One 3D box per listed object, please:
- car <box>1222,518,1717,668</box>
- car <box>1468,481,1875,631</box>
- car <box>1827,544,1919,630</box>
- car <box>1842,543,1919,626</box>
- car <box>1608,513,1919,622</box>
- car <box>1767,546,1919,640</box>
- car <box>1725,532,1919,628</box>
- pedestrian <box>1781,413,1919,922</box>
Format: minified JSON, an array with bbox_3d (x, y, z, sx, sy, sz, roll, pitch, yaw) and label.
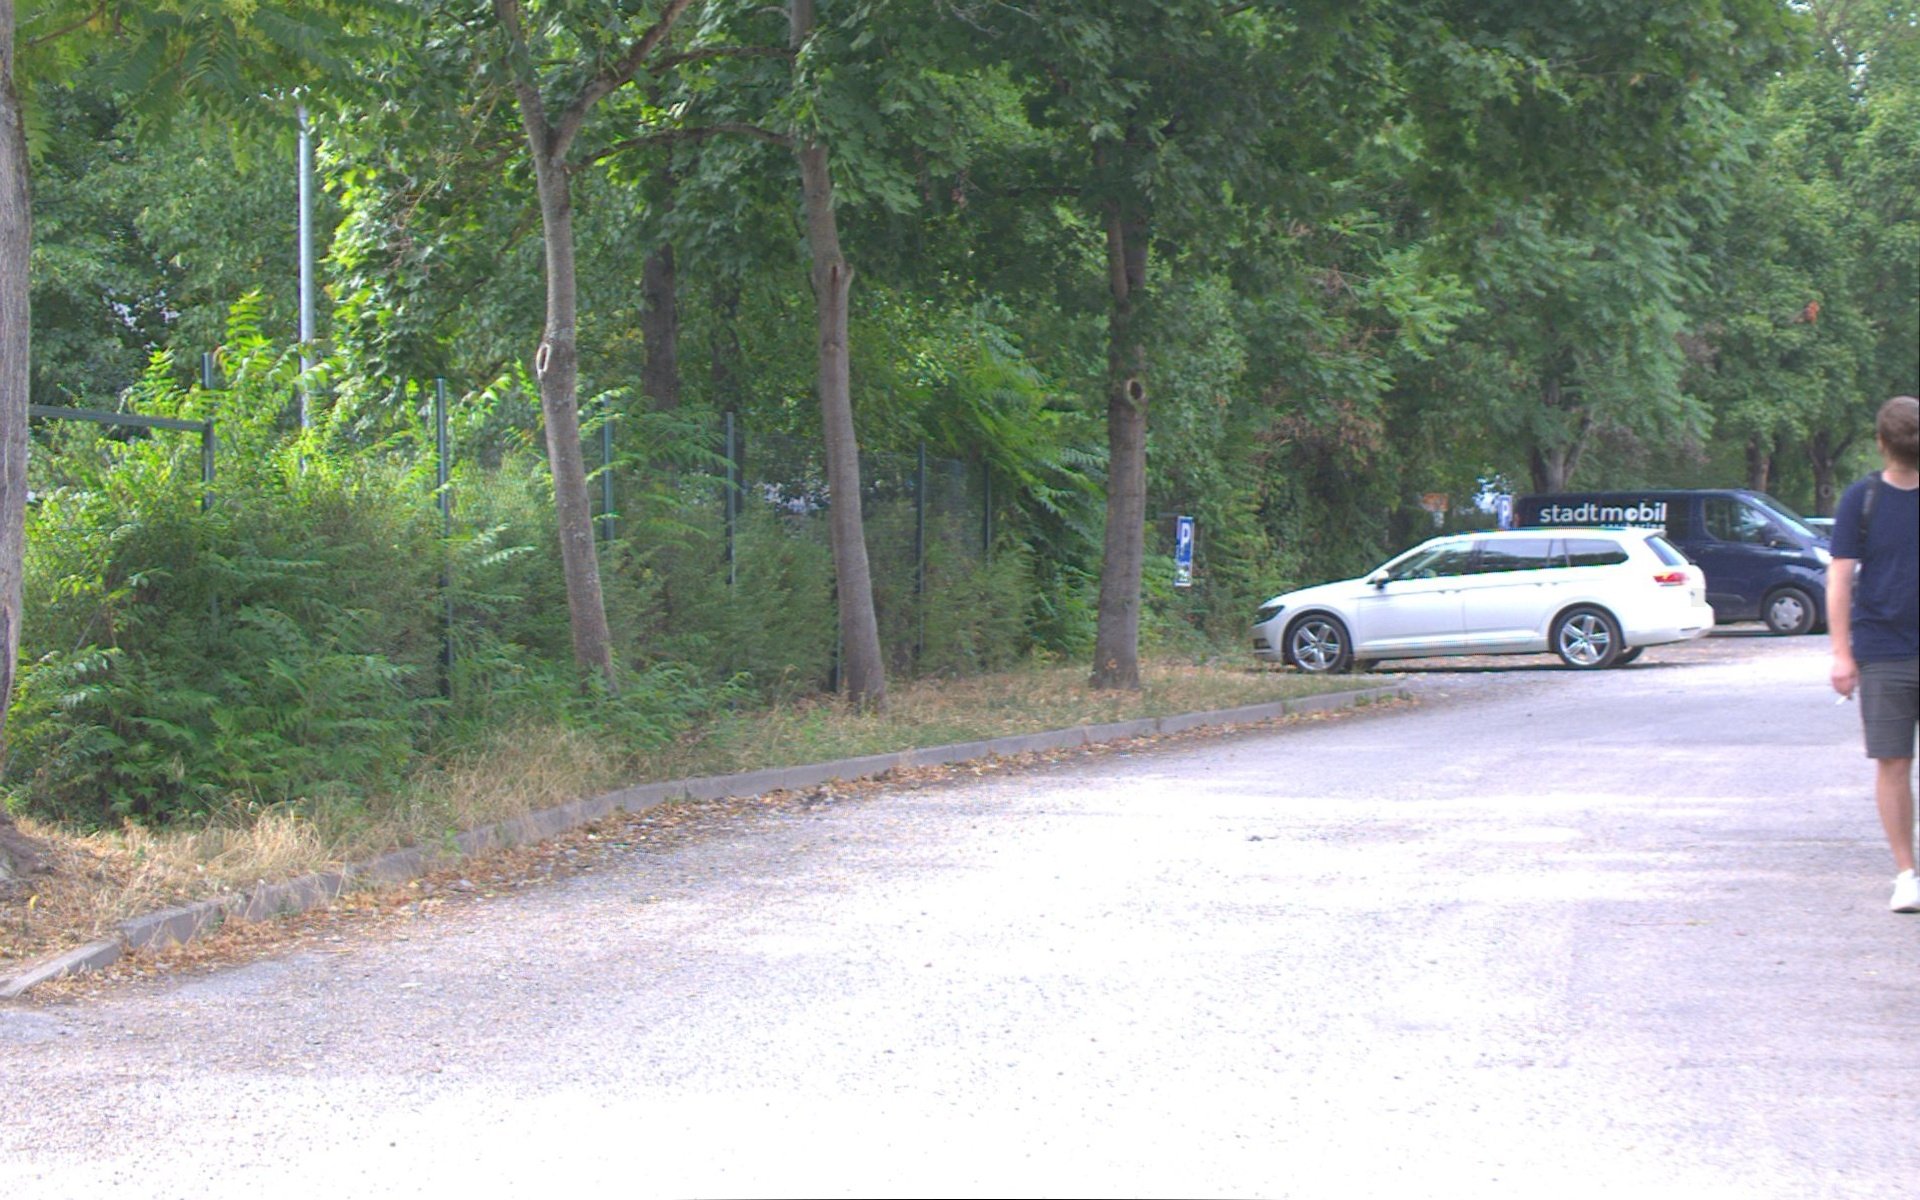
[{"bbox_3d":[5.325,-0.076,35.866,4.797,1.483,1.998,0,1,20],"label":"car"},{"bbox_3d":[9.597,-0.584,46.407,5.052,1.946,1.998,0,1,24],"label":"car"},{"bbox_3d":[17.773,-0.246,60.266,4.797,1.483,1.998,0,1,20],"label":"car"},{"bbox_3d":[18.722,-0.312,62.956,4.797,1.483,1.998,0,1,20],"label":"car"},{"bbox_3d":[11.514,-0.470,49.123,3.994,1.495,1.928,0,1,32],"label":"car"},{"bbox_3d":[15.828,-0.129,57.546,4.338,1.538,1.752,0,1,20],"label":"car"},{"bbox_3d":[14.825,-0.335,55.061,4.797,1.483,1.998,0,1,20],"label":"car"},{"bbox_3d":[3.399,0.228,12.407,0.748,1.783,0.730,0,1,21],"label":"pedestrian"}]
